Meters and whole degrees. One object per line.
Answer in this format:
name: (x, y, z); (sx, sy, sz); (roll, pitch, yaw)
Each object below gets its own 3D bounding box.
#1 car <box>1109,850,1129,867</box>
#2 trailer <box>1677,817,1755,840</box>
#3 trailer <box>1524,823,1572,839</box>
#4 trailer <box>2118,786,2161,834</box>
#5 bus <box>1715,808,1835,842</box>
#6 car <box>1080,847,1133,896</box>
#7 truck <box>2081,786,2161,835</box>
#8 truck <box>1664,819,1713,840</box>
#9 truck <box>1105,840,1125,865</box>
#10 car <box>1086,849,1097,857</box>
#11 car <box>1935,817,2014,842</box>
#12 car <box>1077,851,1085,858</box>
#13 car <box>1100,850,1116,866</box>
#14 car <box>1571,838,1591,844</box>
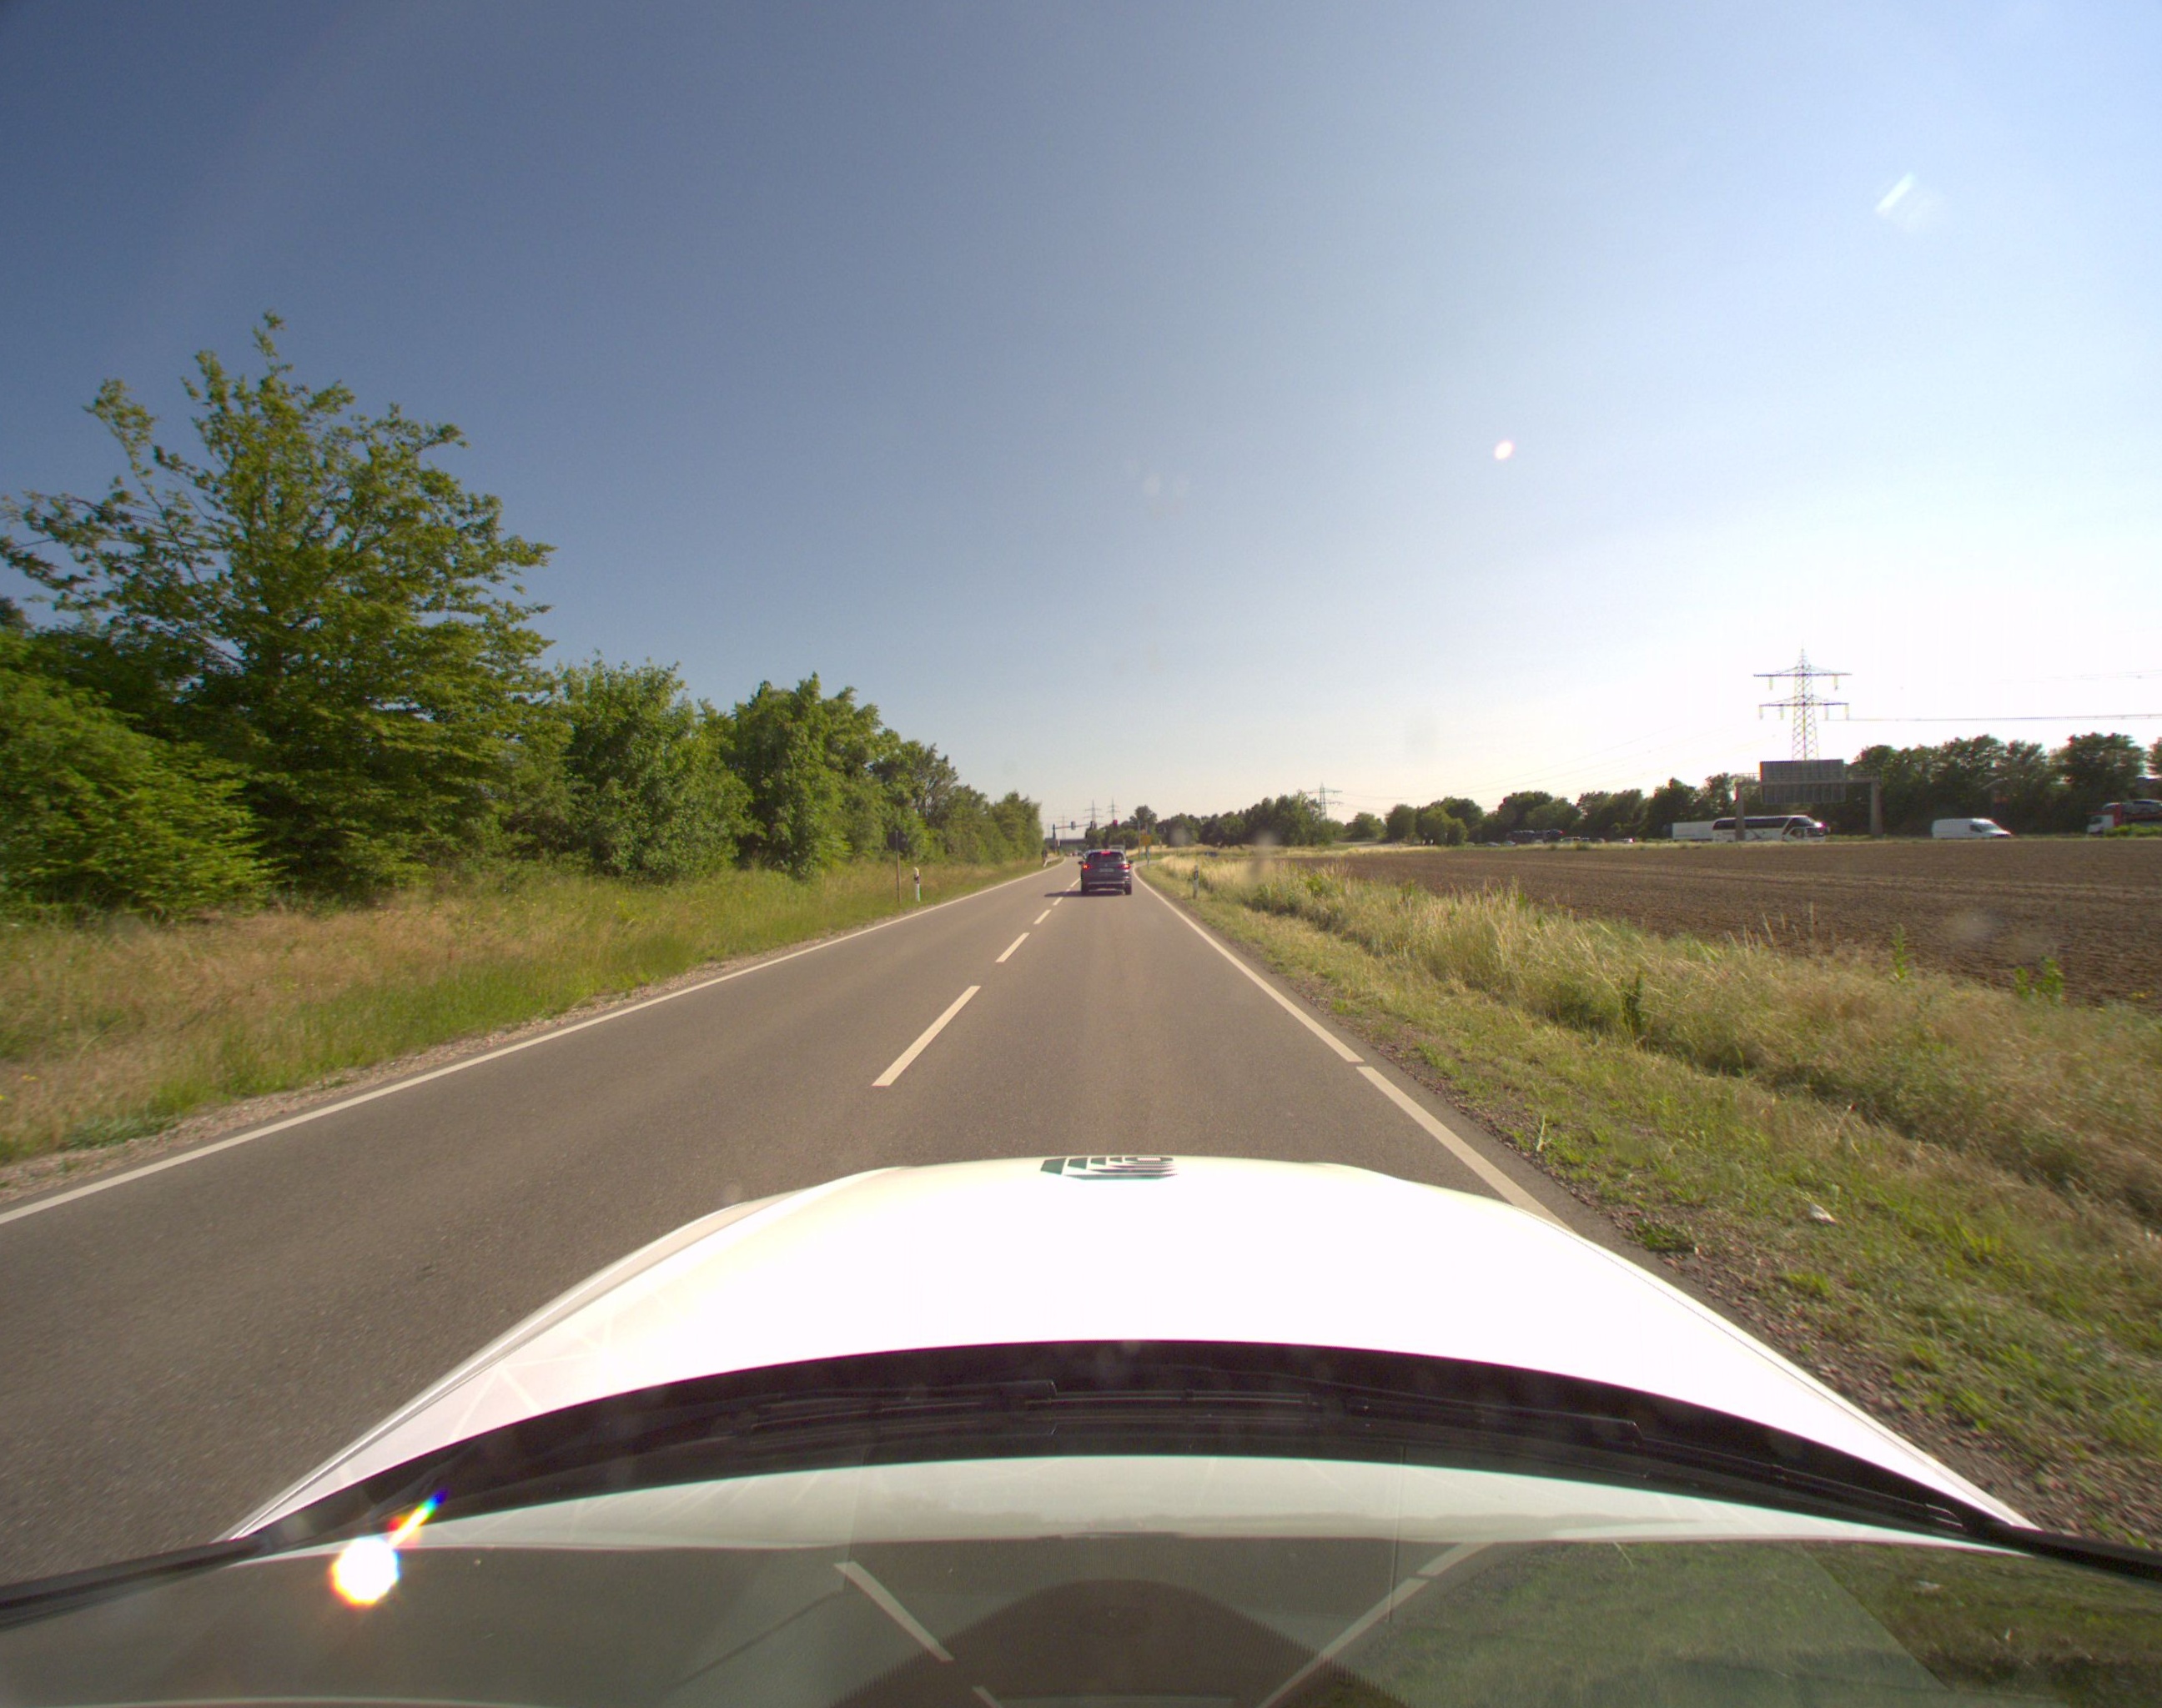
car: (3.474, 0.386, 75.330); (1.779, 1.543, 4.001); (-1, 0, 1)
trailer: (104.801, -4.182, 134.741); (3.273, 3.267, 12.457); (-2, 0, 1)
trailer: (104.615, -5.132, 182.780); (3.273, 3.267, 13.455); (-2, 1, 1)
trailer: (103.204, -4.226, 70.859); (3.410, 4.452, 17.561); (-2, 0, 0)
bus: (85.635, -3.420, 101.111); (2.455, 3.803, 14.544); (-2, 1, -1)
car: (0.930, 0.570, 29.666); (1.779, 1.629, 4.002); (-1, 0, 2)
truck: (103.192, -4.222, 79.227); (3.410, 4.452, 6.705); (-2, 0, 0)
truck: (104.908, -4.186, 140.704); (3.273, 3.267, 6.979); (-2, 0, 1)
truck: (4.303, -0.146, 102.218); (2.328, 3.066, 5.813); (-1, 0, 3)
car: (1.852, -0.195, 148.402); (1.811, 1.540, 3.997); (-2, 0, -2)
car: (88.414, -2.359, 80.703); (1.986, 2.372, 5.524); (0, 0, 2)
car: (0.013, 0.114, 168.378); (1.679, 1.380, 3.531); (-1, 0, -2)
car: (3.039, 0.462, 93.175); (1.779, 1.675, 4.001); (-1, 0, 1)
car: (98.089, -2.507, 159.846); (1.660, 1.147, 3.733); (0, 0, 2)
